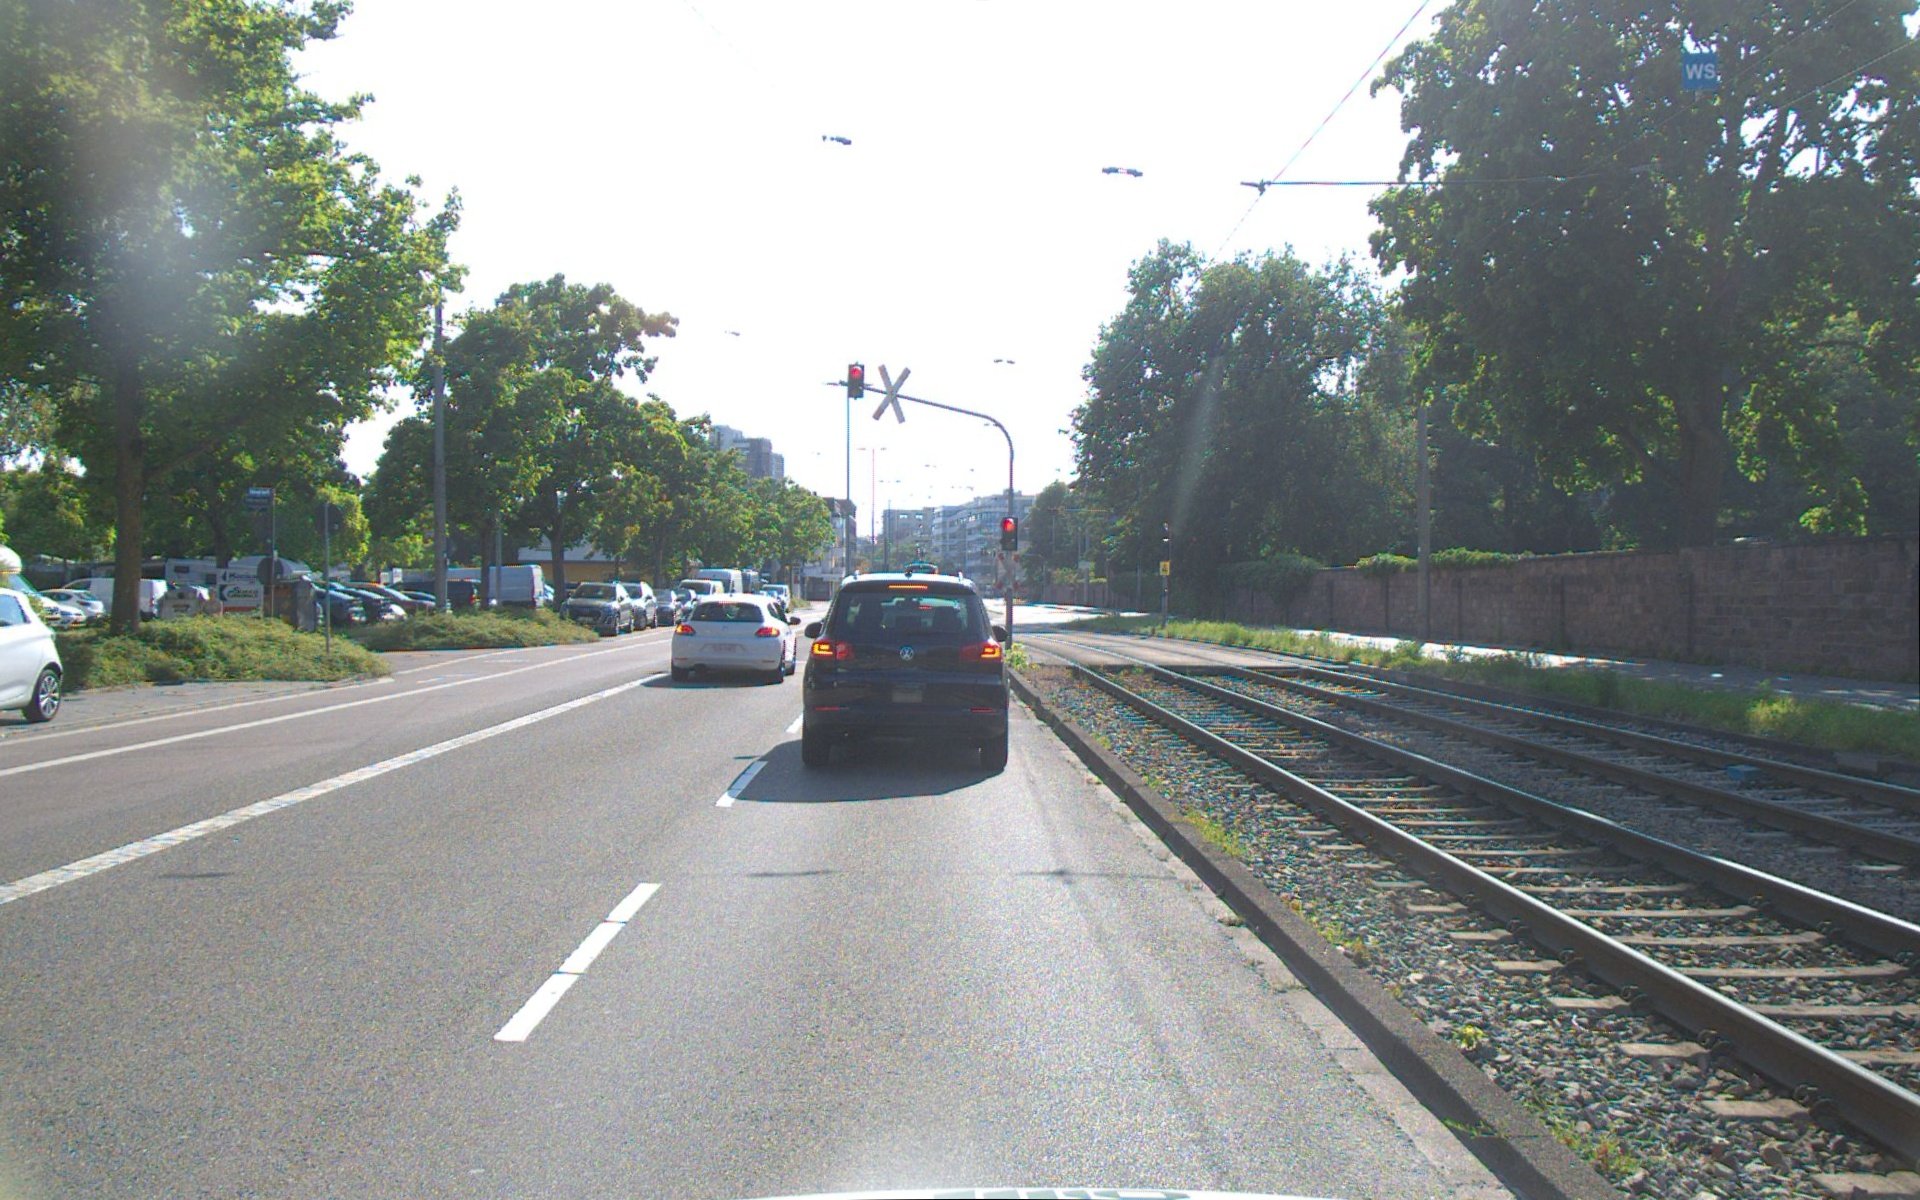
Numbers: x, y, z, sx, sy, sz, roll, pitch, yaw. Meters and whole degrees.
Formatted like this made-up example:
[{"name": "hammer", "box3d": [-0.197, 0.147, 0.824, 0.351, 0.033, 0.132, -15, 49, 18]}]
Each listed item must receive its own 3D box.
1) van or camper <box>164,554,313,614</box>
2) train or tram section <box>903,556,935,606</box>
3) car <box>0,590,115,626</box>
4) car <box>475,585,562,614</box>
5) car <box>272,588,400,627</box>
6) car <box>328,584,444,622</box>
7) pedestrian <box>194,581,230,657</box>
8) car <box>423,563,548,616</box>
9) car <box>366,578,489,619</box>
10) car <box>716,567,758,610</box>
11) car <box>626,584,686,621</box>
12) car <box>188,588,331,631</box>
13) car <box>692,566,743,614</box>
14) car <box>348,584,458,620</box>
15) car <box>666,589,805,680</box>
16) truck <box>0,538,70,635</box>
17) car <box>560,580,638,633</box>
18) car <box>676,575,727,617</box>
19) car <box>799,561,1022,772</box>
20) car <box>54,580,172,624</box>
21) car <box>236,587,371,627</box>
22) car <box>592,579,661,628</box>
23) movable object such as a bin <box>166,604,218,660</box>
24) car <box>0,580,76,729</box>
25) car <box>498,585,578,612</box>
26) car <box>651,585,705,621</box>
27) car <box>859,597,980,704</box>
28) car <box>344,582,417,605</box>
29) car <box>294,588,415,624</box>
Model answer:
[{"name": "van or camper", "box3d": [-35.724, -0.795, 81.999, 6.332, 2.918, 2.307, 0, 0, -1]}, {"name": "train or tram section", "box3d": [-3.042, -1.394, 124.297, 2.279, 3.632, 8.898, 0, 1, -1]}, {"name": "car", "box3d": [-35.406, 0.307, 64.666, 3.903, 1.384, 1.628, 0, 0, 4]}, {"name": "car", "box3d": [-22.148, -0.048, 83.078, 3.909, 1.422, 1.736, 0, 0, -5]}, {"name": "car", "box3d": [-22.190, 0.249, 58.895, 3.909, 1.330, 1.736, 0, 0, -5]}, {"name": "car", "box3d": [-22.258, 0.112, 64.266, 3.909, 1.422, 1.736, 0, 0, -5]}, {"name": "pedestrian", "box3d": [-16.388, 0.413, 36.228, 0.514, 1.656, 0.610, 0, 0, -1]}, {"name": "car", "box3d": [-22.243, -0.510, 77.638, 5.266, 2.466, 2.087, 0, 0, -1]}, {"name": "car", "box3d": [-22.359, -0.060, 69.620, 4.526, 1.680, 2.048, 0, 0, -3]}, {"name": "car", "box3d": [-12.318, -0.640, 91.557, 1.696, 2.308, 4.645, 0, 1, 0]}, {"name": "car", "box3d": [-12.244, 0.085, 66.851, 1.696, 1.413, 3.735, 0, 1, 0]}, {"name": "car", "box3d": [-22.714, 0.295, 53.751, 3.909, 1.330, 1.736, 0, 0, -5]}, {"name": "car", "box3d": [-12.380, -0.541, 84.727, 1.825, 2.388, 4.985, 0, 1, 0]}, {"name": "car", "box3d": [-22.590, 0.084, 67.226, 3.909, 1.422, 1.736, 0, 0, -5]}, {"name": "car", "box3d": [-3.660, 0.526, 27.586, 1.827, 1.371, 3.999, 1, 1, -1]}, {"name": "truck", "box3d": [-34.626, -0.465, 56.909, 6.823, 3.298, 1.986, 0, 0, -3]}, {"name": "car", "box3d": [-11.935, 0.197, 54.972, 1.696, 1.686, 4.000, 0, 1, 0]}, {"name": "car", "box3d": [-12.176, -0.208, 78.058, 1.696, 1.892, 4.489, 0, 1, 0]}, {"name": "car", "box3d": [-0.434, 0.536, 15.371, 1.774, 1.673, 3.999, 1, 0, -1]}, {"name": "car", "box3d": [-34.297, 0.067, 67.028, 3.912, 1.758, 1.624, 0, 0, -8]}, {"name": "car", "box3d": [-22.243, 0.234, 56.174, 3.909, 1.330, 1.736, 0, 0, -5]}, {"name": "car", "box3d": [-12.201, 0.096, 60.668, 1.696, 1.724, 4.000, 0, 1, 0]}, {"name": "movable object such as a bin", "box3d": [-16.380, 0.677, 35.296, 0.531, 1.166, 1.261, 0, 0, -1]}, {"name": "car", "box3d": [-11.093, 0.580, 17.483, 1.569, 1.577, 3.891, 2, 0, -4]}, {"name": "car", "box3d": [-22.583, -0.098, 88.539, 3.909, 1.422, 1.736, 0, 0, -5]}, {"name": "car", "box3d": [-12.375, 0.113, 72.734, 1.696, 1.475, 3.735, 0, 1, 0]}, {"name": "car", "box3d": [-0.586, 0.681, 24.344, 1.635, 1.411, 3.999, 0, 1, -1]}, {"name": "car", "box3d": [-35.817, -0.394, 102.256, 3.909, 1.422, 1.736, 0, 0, -5]}, {"name": "car", "box3d": [-22.669, 0.220, 62.041, 3.909, 1.330, 1.736, 0, 0, -5]}]
